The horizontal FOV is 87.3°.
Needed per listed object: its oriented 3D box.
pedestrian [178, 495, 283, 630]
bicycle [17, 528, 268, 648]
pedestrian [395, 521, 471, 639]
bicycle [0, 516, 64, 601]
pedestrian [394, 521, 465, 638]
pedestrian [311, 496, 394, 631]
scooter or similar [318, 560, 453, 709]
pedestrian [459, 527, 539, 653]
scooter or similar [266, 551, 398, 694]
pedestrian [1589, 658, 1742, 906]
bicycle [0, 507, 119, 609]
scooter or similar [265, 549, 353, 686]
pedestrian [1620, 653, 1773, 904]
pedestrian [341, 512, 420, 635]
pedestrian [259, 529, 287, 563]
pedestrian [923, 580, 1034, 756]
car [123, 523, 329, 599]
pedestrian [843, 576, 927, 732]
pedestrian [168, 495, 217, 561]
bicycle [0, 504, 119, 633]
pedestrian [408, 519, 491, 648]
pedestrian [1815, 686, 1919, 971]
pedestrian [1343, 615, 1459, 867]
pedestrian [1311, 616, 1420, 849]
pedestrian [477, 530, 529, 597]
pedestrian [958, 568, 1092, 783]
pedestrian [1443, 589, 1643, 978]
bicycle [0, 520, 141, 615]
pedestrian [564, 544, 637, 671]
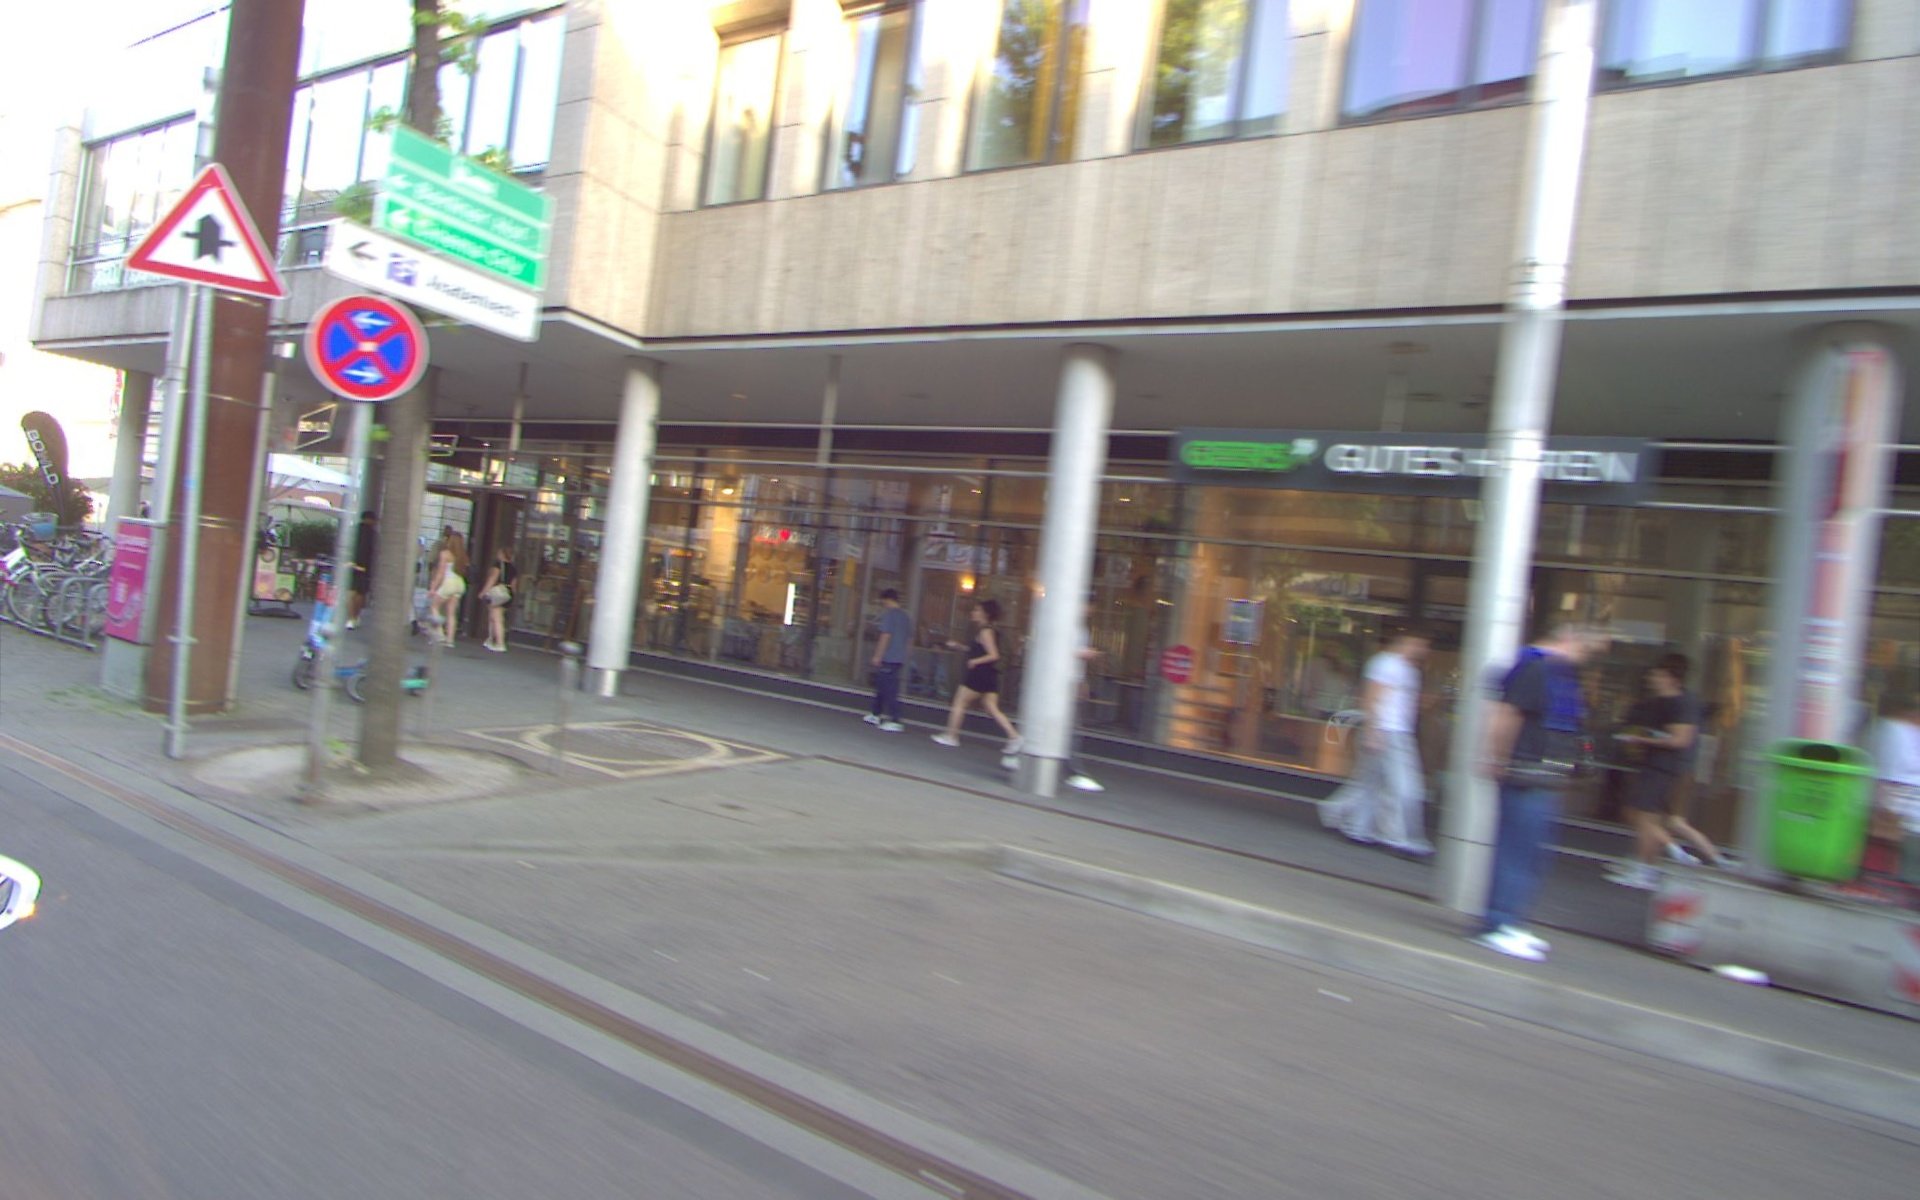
[{"bbox_3d":[-10.170,-0.516,14.034,0.908,1.740,0.764,6,0,31],"label":"pedestrian"},{"bbox_3d":[-9.040,-0.092,11.234,0.712,1.170,2.000,7,1,25],"label":"bicycle"},{"bbox_3d":[-8.545,-0.314,16.307,0.707,1.809,0.663,7,1,31],"label":"pedestrian"},{"bbox_3d":[-13.703,-0.628,13.864,0.655,1.122,1.856,7,0,28],"label":"bicycle"},{"bbox_3d":[-8.976,-0.347,17.027,0.708,1.871,0.663,7,1,36],"label":"pedestrian"},{"bbox_3d":[-9.730,-0.577,16.124,0.769,2.039,0.687,7,1,31],"label":"pedestrian"},{"bbox_3d":[-5.355,0.306,9.442,0.487,1.267,1.115,7,1,0],"label":"scooter or similar"},{"bbox_3d":[-7.039,-0.148,15.354,0.707,1.809,0.663,7,1,31],"label":"pedestrian"},{"bbox_3d":[-6.063,0.211,9.779,0.386,1.267,1.191,7,1,1],"label":"scooter or similar"},{"bbox_3d":[5.578,1.401,8.005,0.760,1.774,0.583,7,1,29],"label":"pedestrian"},{"bbox_3d":[-12.364,-0.568,13.139,0.749,1.238,1.918,7,1,25],"label":"bicycle"},{"bbox_3d":[-6.526,0.146,10.128,0.388,1.267,1.185,7,1,-21],"label":"scooter or similar"},{"bbox_3d":[6.145,1.449,8.446,0.760,1.906,0.688,7,1,29],"label":"pedestrian"},{"bbox_3d":[-9.059,-0.406,15.738,0.707,1.809,0.663,7,1,31],"label":"pedestrian"},{"bbox_3d":[-29.099,-2.276,42.611,0.571,1.324,0.594,10,0,26],"label":"pedestrian"},{"bbox_3d":[0.212,0.737,11.097,0.761,1.794,0.774,7,0,29],"label":"pedestrian"},{"bbox_3d":[-19.645,-0.998,27.122,1.745,1.425,4.049,6,-3,29],"label":"car"},{"bbox_3d":[-0.893,0.639,12.008,0.607,1.753,0.571,7,1,29],"label":"pedestrian"},{"bbox_3d":[-23.252,-2.180,30.471,0.793,1.845,0.809,8,1,35],"label":"pedestrian"},{"bbox_3d":[-10.532,-0.369,10.949,0.712,1.350,1.918,7,1,25],"label":"bicycle"},{"bbox_3d":[-7.541,-0.235,14.864,0.707,1.809,0.663,7,1,31],"label":"pedestrian"},{"bbox_3d":[6.011,1.426,6.374,0.639,1.682,0.649,7,1,31],"label":"pedestrian"},{"bbox_3d":[3.464,1.072,7.885,0.594,1.829,0.540,7,1,29],"label":"pedestrian"},{"bbox_3d":[3.421,1.089,8.472,0.594,1.829,0.540,7,1,29],"label":"pedestrian"},{"bbox_3d":[-13.936,-1.103,30.683,0.858,1.862,0.866,10,1,25],"label":"pedestrian"},{"bbox_3d":[0.623,0.694,9.521,0.865,1.862,0.669,7,1,30],"label":"pedestrian"},{"bbox_3d":[3.107,0.926,5.405,0.696,1.862,0.669,7,1,30],"label":"pedestrian"},{"bbox_3d":[-11.746,-0.418,12.765,0.749,1.091,1.919,7,1,25],"label":"bicycle"},{"bbox_3d":[-5.216,0.121,14.587,0.607,1.753,0.571,7,1,29],"label":"pedestrian"}]
